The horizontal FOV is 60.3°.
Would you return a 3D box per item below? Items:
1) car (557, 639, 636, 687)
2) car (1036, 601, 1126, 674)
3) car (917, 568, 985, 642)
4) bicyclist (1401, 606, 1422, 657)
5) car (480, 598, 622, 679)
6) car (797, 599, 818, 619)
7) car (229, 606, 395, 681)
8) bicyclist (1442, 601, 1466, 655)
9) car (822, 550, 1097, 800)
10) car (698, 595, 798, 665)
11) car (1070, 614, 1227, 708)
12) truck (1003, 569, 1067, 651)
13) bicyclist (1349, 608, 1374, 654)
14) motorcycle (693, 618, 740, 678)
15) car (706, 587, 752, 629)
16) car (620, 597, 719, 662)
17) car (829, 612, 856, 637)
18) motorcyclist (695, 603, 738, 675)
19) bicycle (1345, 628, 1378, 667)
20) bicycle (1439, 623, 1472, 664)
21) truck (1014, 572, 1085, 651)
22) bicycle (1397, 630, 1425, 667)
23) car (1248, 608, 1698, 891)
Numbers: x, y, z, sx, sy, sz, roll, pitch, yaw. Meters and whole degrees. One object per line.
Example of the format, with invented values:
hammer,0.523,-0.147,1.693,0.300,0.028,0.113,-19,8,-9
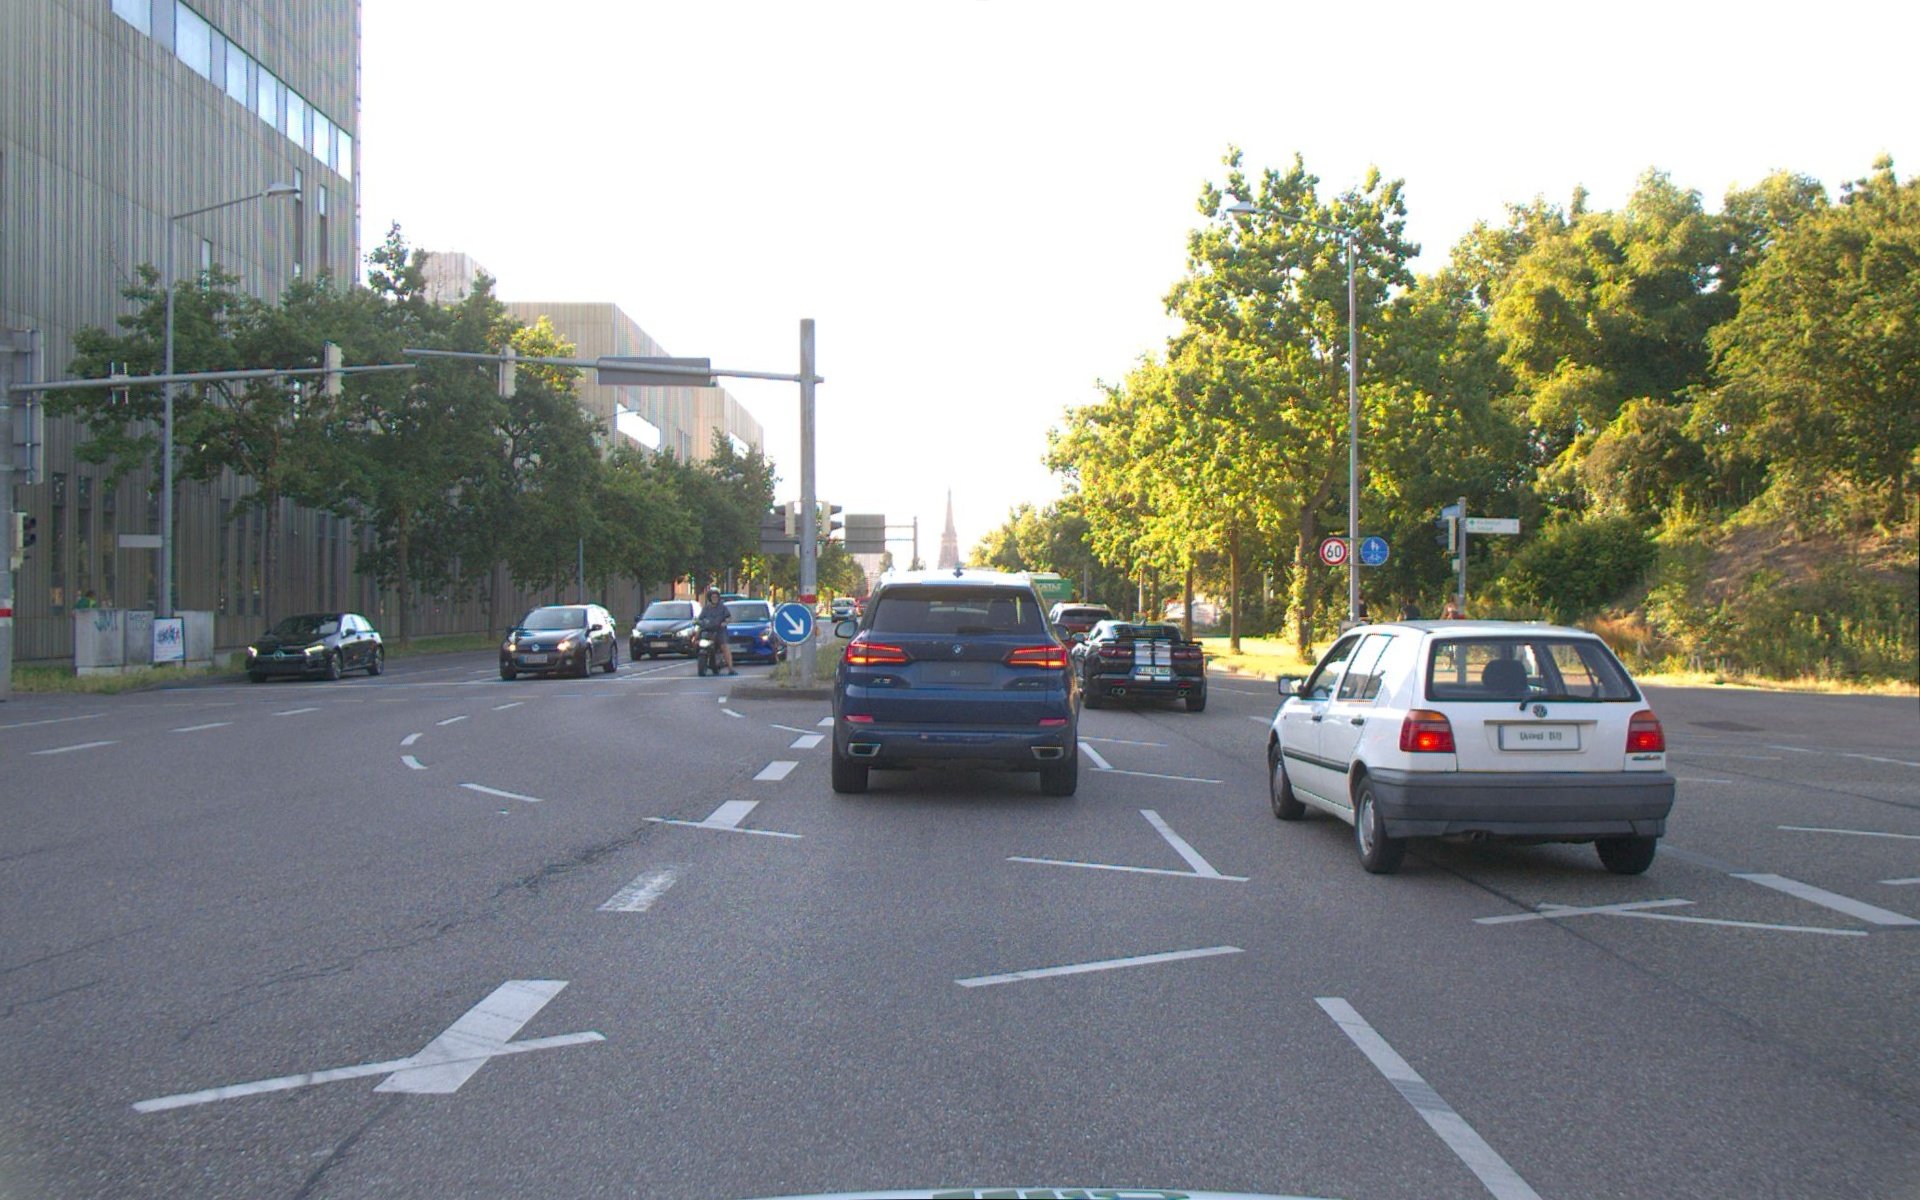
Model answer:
car,-13.562,2.329,61.925,1.954,1.619,4.713,-3,-1,-2
car,2.798,0.878,38.863,1.759,1.586,3.999,2,-1,0
car,-0.388,0.217,62.464,2.095,2.621,5.080,2,-1,-5
bicyclist,11.874,0.837,43.514,0.419,1.332,0.460,2,-2,0
car,-8.391,0.796,34.289,1.953,1.501,4.078,2,-1,-2
car,-15.068,0.910,163.622,1.721,1.735,4.492,-3,-1,-2
car,-13.987,0.941,36.003,1.954,1.425,4.347,-3,-1,-2
bicyclist,11.444,0.647,38.315,0.419,1.254,0.460,0,-1,0
car,-0.018,0.595,14.291,1.953,1.764,4.531,2,-1,0
car,-4.984,0.714,39.345,1.667,1.477,3.858,-3,-1,2
car,2.874,0.930,26.014,1.953,1.317,3.999,2,-1,0
truck,2.561,0.386,57.640,1.955,2.715,3.999,2,-1,0
bicyclist,12.020,0.926,49.513,0.532,1.339,0.835,2,-1,-1
motorcycle,-4.825,0.933,32.869,0.824,1.094,2.397,-2,0,-7
car,-11.726,0.382,84.155,1.758,2.013,3.993,-3,0,-2
car,-8.012,0.830,46.002,1.954,1.619,4.713,-3,-1,-2
car,-8.959,1.876,126.573,1.721,1.808,4.492,-3,-1,-2
motorcyclist,-4.848,0.764,33.004,0.782,1.373,1.272,-1,1,-7
bicycle,12.009,1.425,49.500,0.553,1.132,1.621,2,-1,0
bicycle,11.424,1.009,38.175,0.428,0.930,1.026,-1,-1,0
truck,2.816,0.395,52.753,1.955,2.356,3.999,2,-1,0
bicycle,11.851,1.272,43.443,0.428,0.930,1.026,2,-1,0
car,3.045,0.826,10.681,1.547,1.438,4.061,2,-1,-1
